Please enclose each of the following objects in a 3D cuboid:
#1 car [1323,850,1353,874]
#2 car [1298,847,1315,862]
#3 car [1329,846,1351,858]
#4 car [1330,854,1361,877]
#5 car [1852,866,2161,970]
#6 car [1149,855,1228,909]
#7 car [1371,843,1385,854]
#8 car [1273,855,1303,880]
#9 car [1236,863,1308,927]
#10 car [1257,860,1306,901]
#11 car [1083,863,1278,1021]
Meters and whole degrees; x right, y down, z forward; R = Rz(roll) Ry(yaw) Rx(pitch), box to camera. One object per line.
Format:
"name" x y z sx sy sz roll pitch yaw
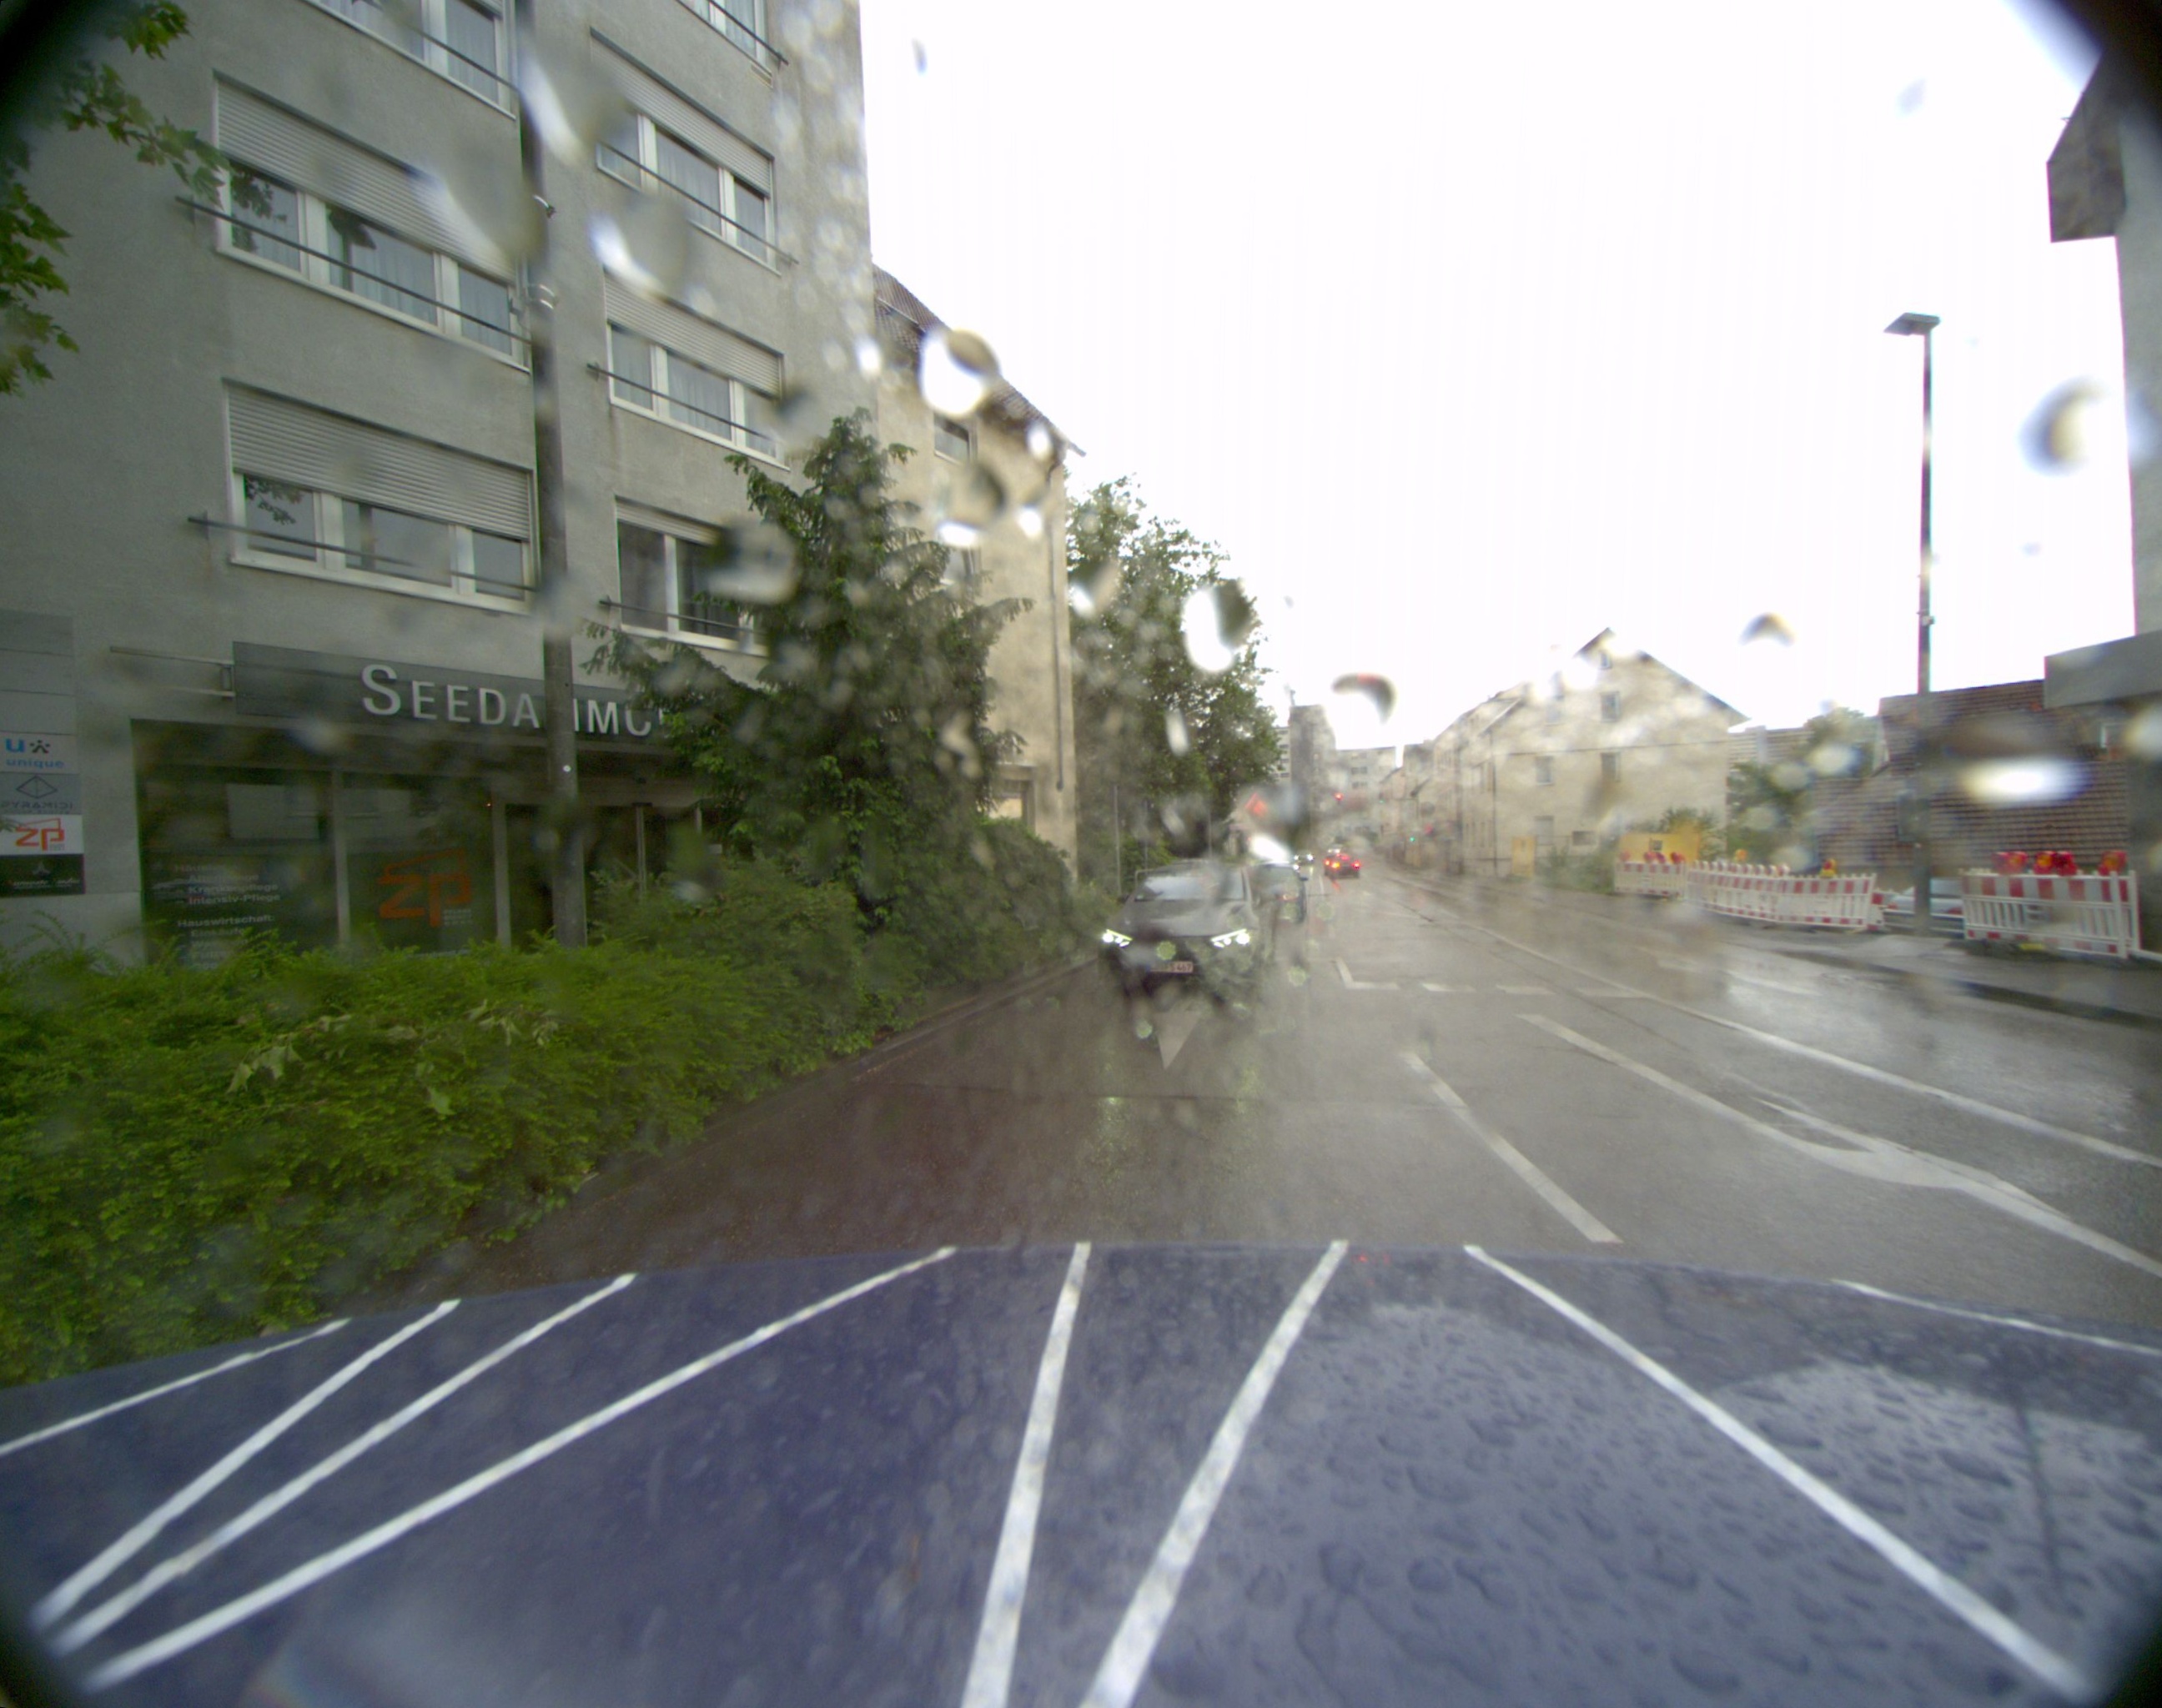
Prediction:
"car" 18.859 0.602 55.931 1.818 1.635 4.281 -2 -1 16
"car" 25.263 0.059 84.999 1.548 1.525 3.693 -3 0 19
"car" 37.105 -0.282 108.987 1.612 1.495 3.725 -3 -1 41
"car" 17.245 0.701 49.652 1.709 1.375 3.674 -2 0 16
"car" 16.396 1.085 13.446 3.505 1.382 1.653 6 -1 8
"car" 4.047 0.942 27.815 1.933 1.770 4.740 -1 0 20
"car" 43.904 -0.879 112.221 1.817 1.562 4.282 -1 0 23
"car" 13.234 0.826 48.425 1.684 1.452 4.005 -2 0 17
"car" 5.053 0.990 19.797 1.639 1.424 3.810 -1 0 17
"car" 7.836 0.984 29.781 1.685 1.413 4.004 -2 0 14
"car" 1.552 0.959 10.077 1.818 1.562 4.281 -2 -1 17
